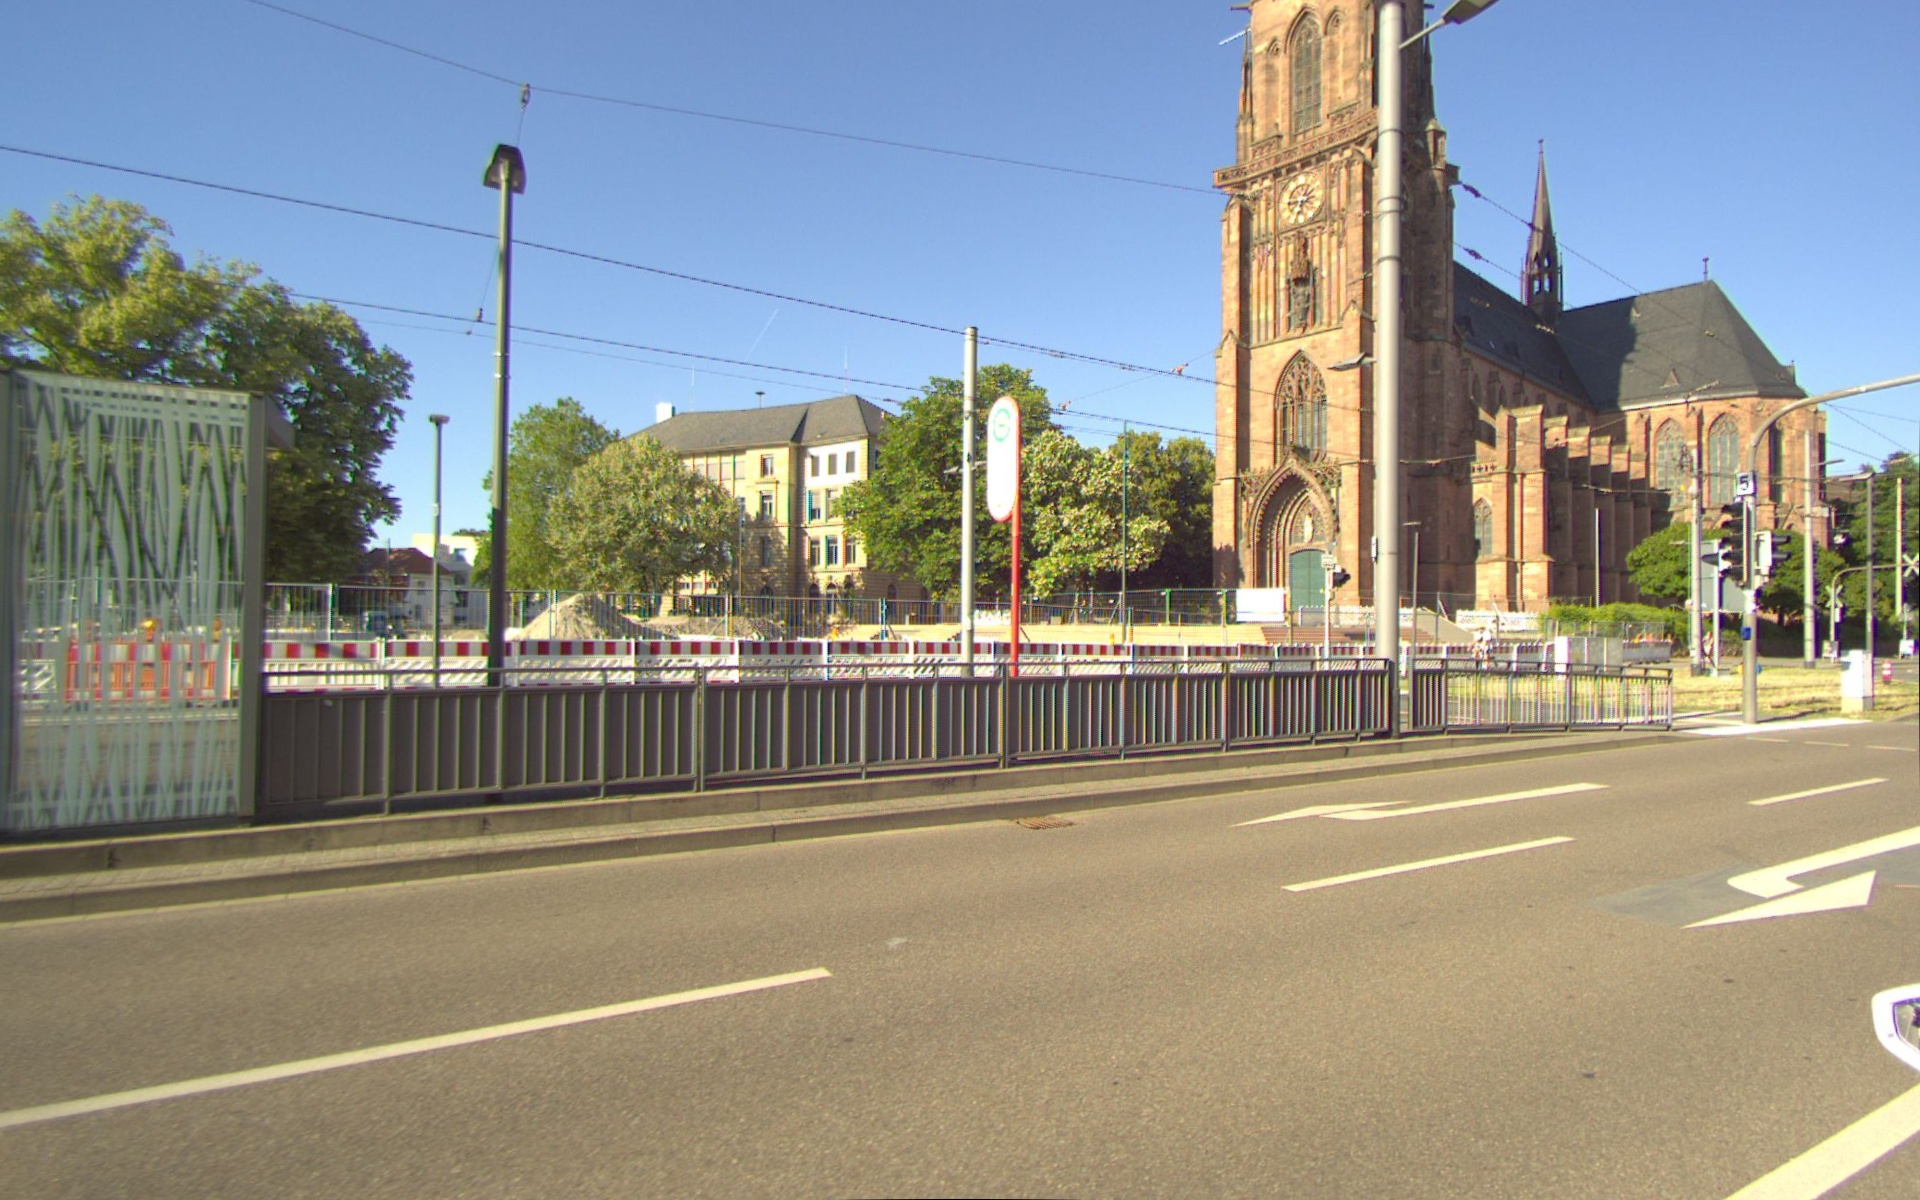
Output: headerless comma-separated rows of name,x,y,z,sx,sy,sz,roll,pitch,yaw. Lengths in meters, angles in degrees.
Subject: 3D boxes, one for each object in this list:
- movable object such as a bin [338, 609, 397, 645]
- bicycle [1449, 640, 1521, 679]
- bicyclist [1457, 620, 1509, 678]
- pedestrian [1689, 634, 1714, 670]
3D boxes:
movable object such as a bin,-36.938,1.680,62.609,3.941,2.040,1.990,-3,-1,40
bicycle,17.375,1.959,33.211,2.798,1.111,0.956,-1,-3,-38
bicyclist,17.269,1.623,33.160,1.307,1.832,0.956,-1,-3,-37
pedestrian,38.677,2.696,52.404,0.854,1.797,0.724,-2,-1,-33
